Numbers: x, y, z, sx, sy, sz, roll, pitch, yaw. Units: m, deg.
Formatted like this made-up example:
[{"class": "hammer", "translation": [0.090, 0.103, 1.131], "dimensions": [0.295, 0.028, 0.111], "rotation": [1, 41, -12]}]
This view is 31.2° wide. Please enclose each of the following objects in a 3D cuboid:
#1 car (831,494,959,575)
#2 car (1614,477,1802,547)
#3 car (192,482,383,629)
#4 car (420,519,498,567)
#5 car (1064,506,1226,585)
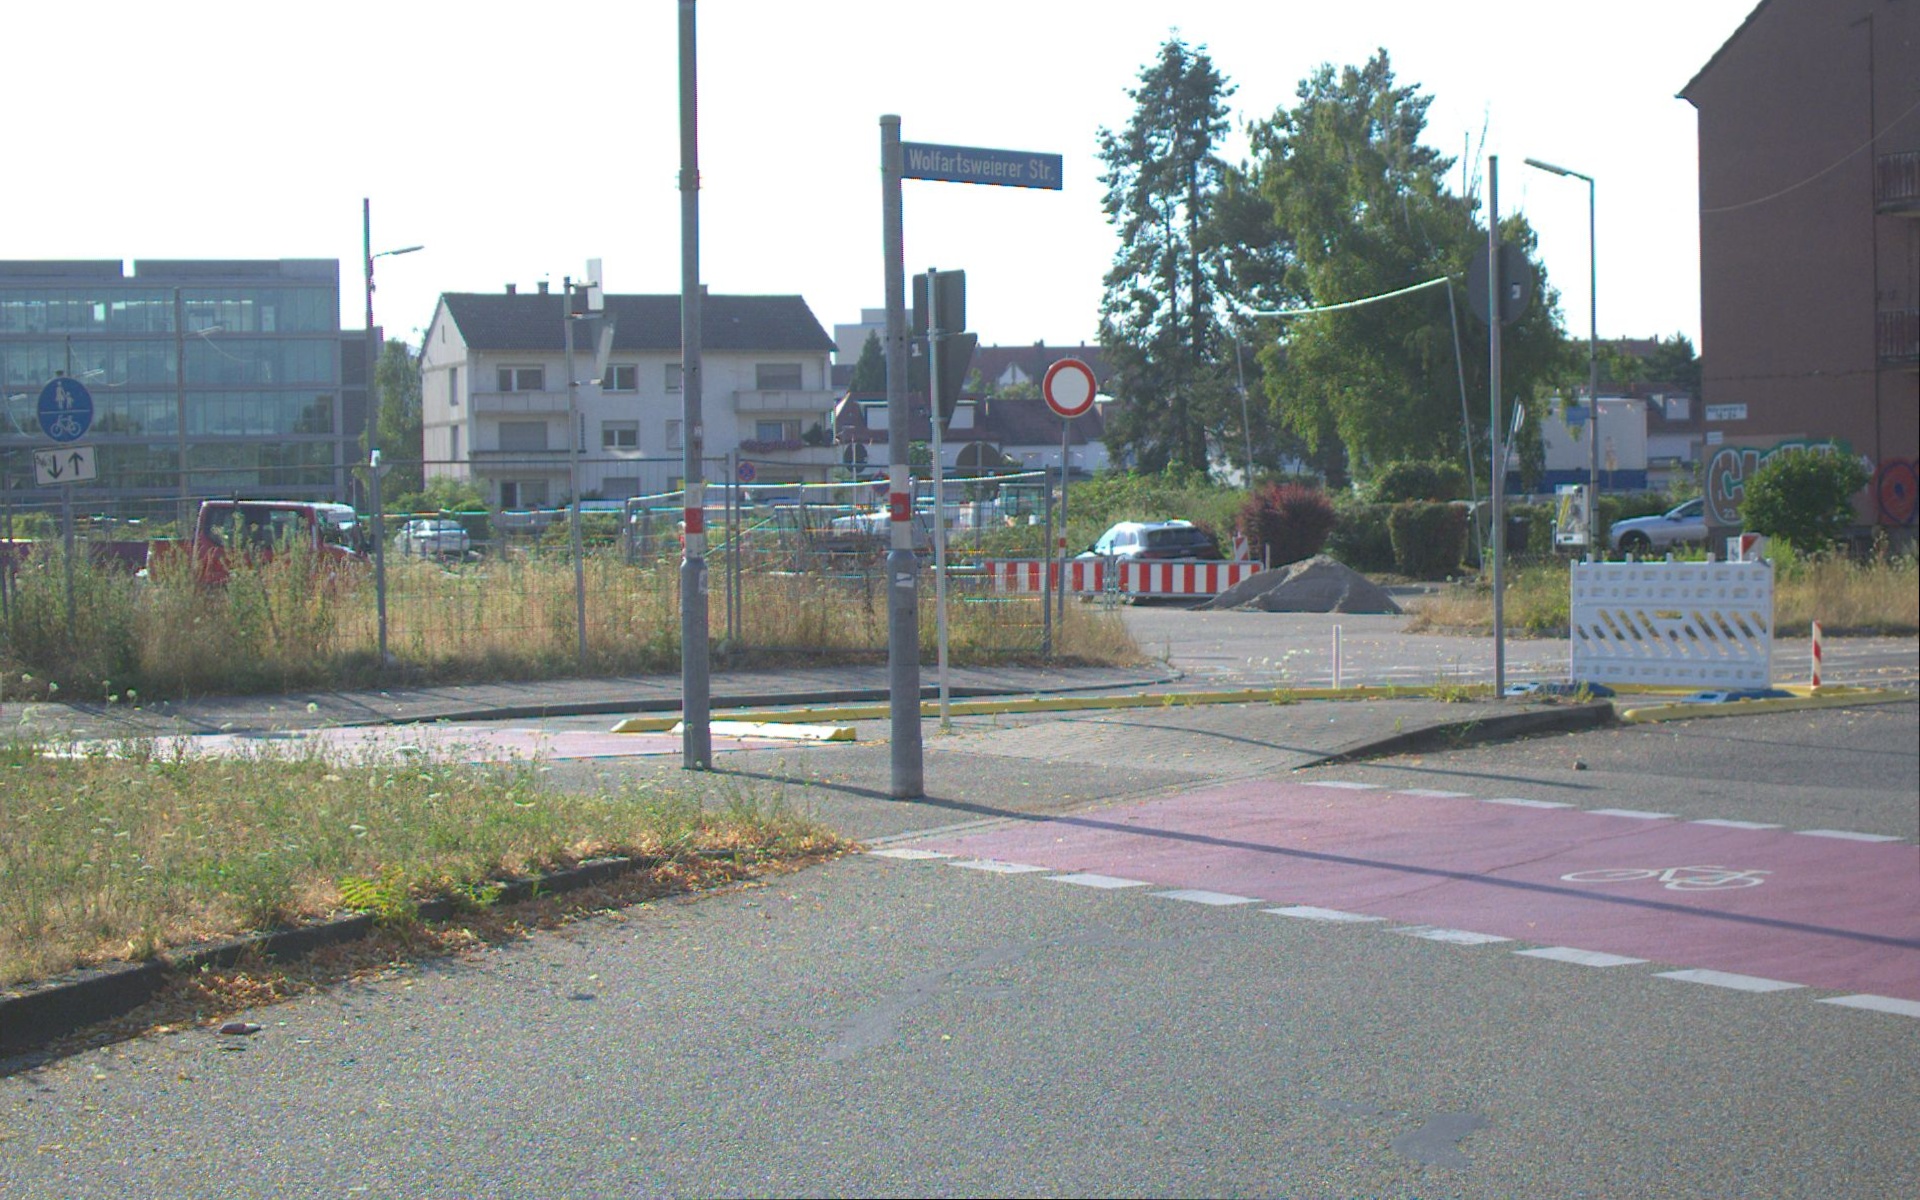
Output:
[{"class": "car", "translation": [-1.659, -1.645, 86.465], "dimensions": [1.862, 1.941, 4.001], "rotation": [-2, 2, -22]}, {"class": "car", "translation": [17.332, -2.031, 79.586], "dimensions": [3.991, 1.524, 1.998], "rotation": [-1, 2, 21]}, {"class": "car", "translation": [-9.815, -0.695, 50.563], "dimensions": [1.993, 2.006, 5.314], "rotation": [-1, 2, -3]}, {"class": "car", "translation": [-19.555, -2.239, 134.109], "dimensions": [2.145, 1.831, 4.363], "rotation": [-1, 2, -20]}, {"class": "car", "translation": [3.794, -1.136, 71.175], "dimensions": [1.993, 1.546, 4.001], "rotation": [-2, 2, -18]}]
